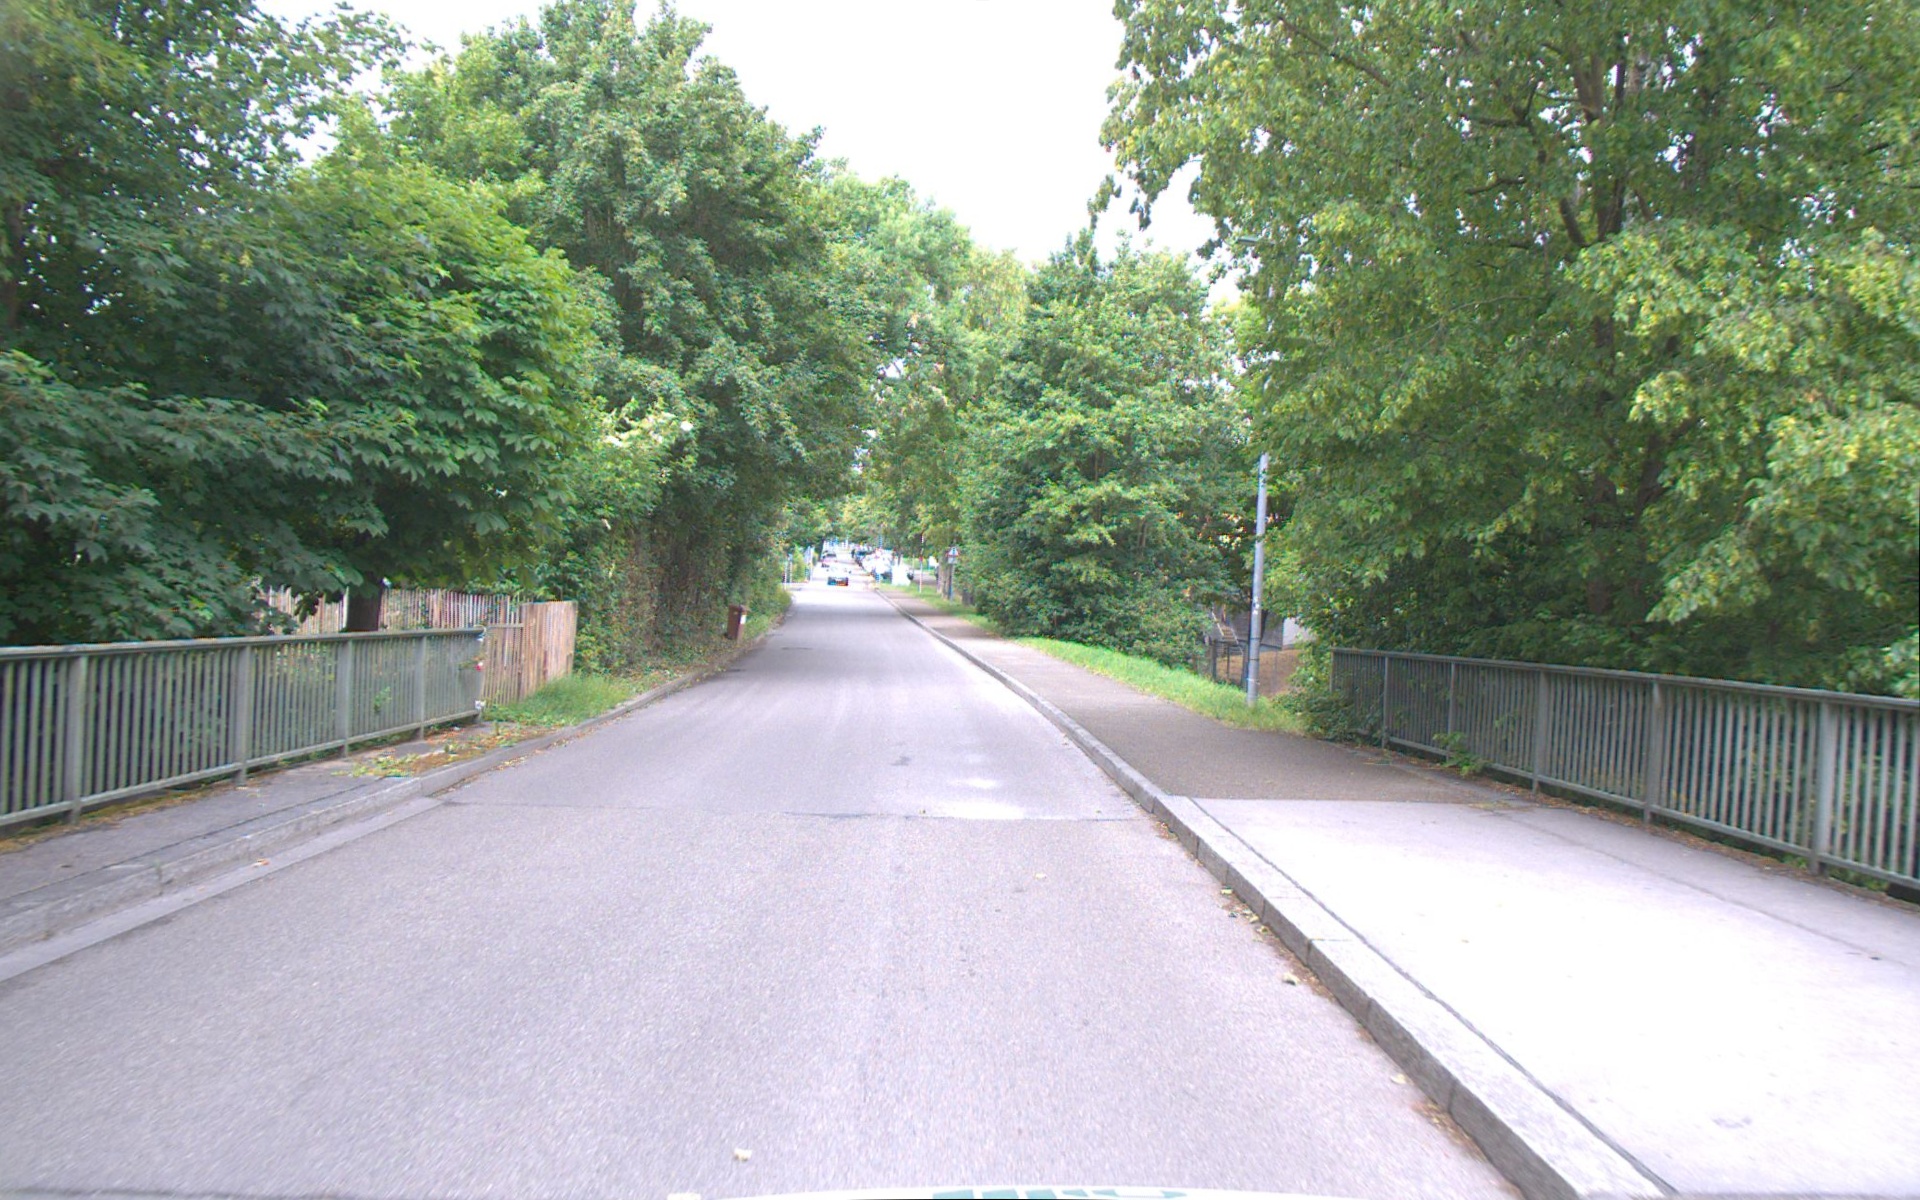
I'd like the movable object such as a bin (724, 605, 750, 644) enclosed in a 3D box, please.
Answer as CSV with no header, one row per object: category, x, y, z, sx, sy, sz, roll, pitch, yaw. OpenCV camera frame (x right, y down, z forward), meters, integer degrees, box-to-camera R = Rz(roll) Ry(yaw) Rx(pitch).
movable object such as a bin,-5.791,0.634,42.925,0.578,0.974,0.469,2,-1,-3

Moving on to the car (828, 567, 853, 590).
car,-10.096,-1.826,140.045,1.954,1.803,3.997,2,-1,-3
